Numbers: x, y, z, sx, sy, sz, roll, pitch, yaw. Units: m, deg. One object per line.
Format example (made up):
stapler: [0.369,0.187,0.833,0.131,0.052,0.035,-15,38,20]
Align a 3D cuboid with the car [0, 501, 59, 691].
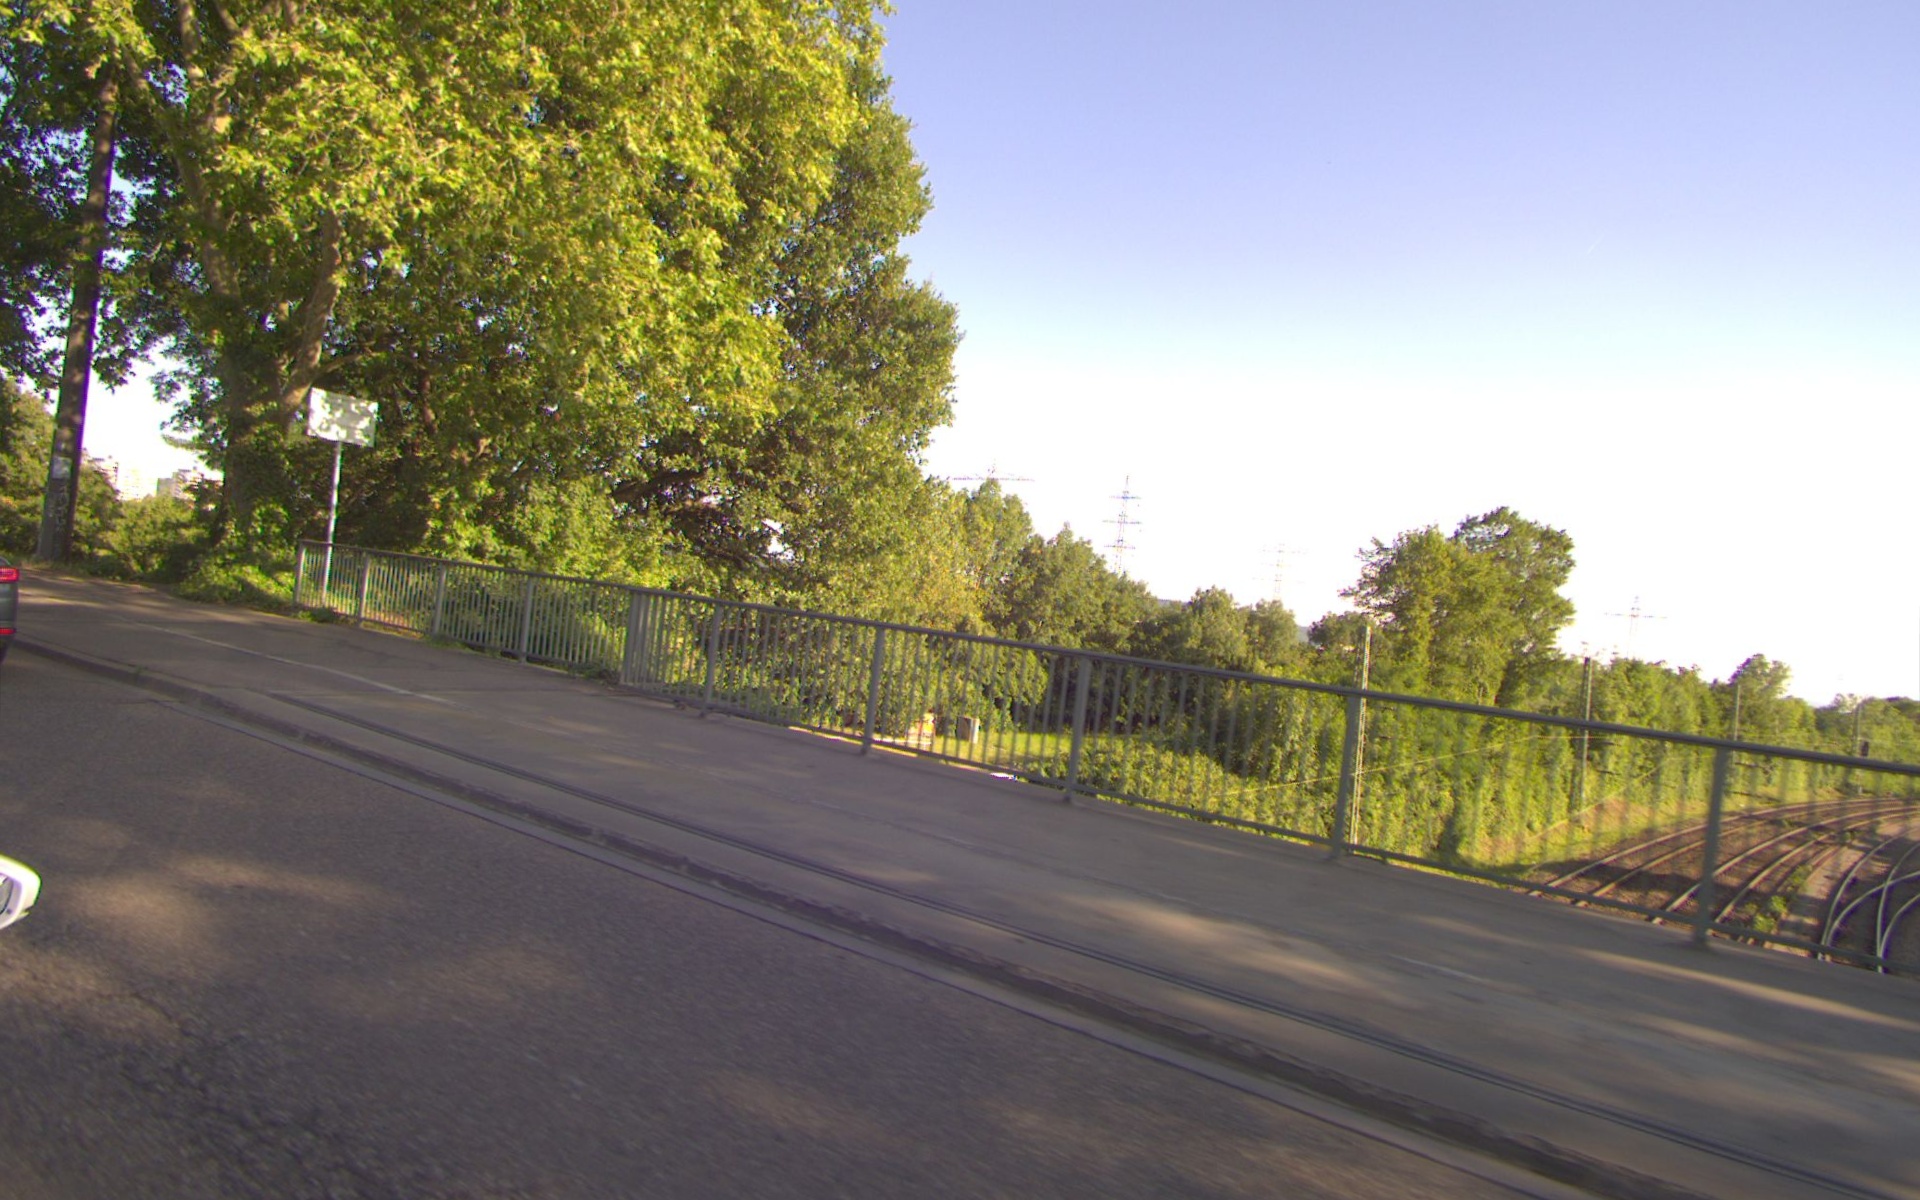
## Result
car: [-9.807,-0.300,8.576,4.589,1.484,1.869,6,-1,32]
